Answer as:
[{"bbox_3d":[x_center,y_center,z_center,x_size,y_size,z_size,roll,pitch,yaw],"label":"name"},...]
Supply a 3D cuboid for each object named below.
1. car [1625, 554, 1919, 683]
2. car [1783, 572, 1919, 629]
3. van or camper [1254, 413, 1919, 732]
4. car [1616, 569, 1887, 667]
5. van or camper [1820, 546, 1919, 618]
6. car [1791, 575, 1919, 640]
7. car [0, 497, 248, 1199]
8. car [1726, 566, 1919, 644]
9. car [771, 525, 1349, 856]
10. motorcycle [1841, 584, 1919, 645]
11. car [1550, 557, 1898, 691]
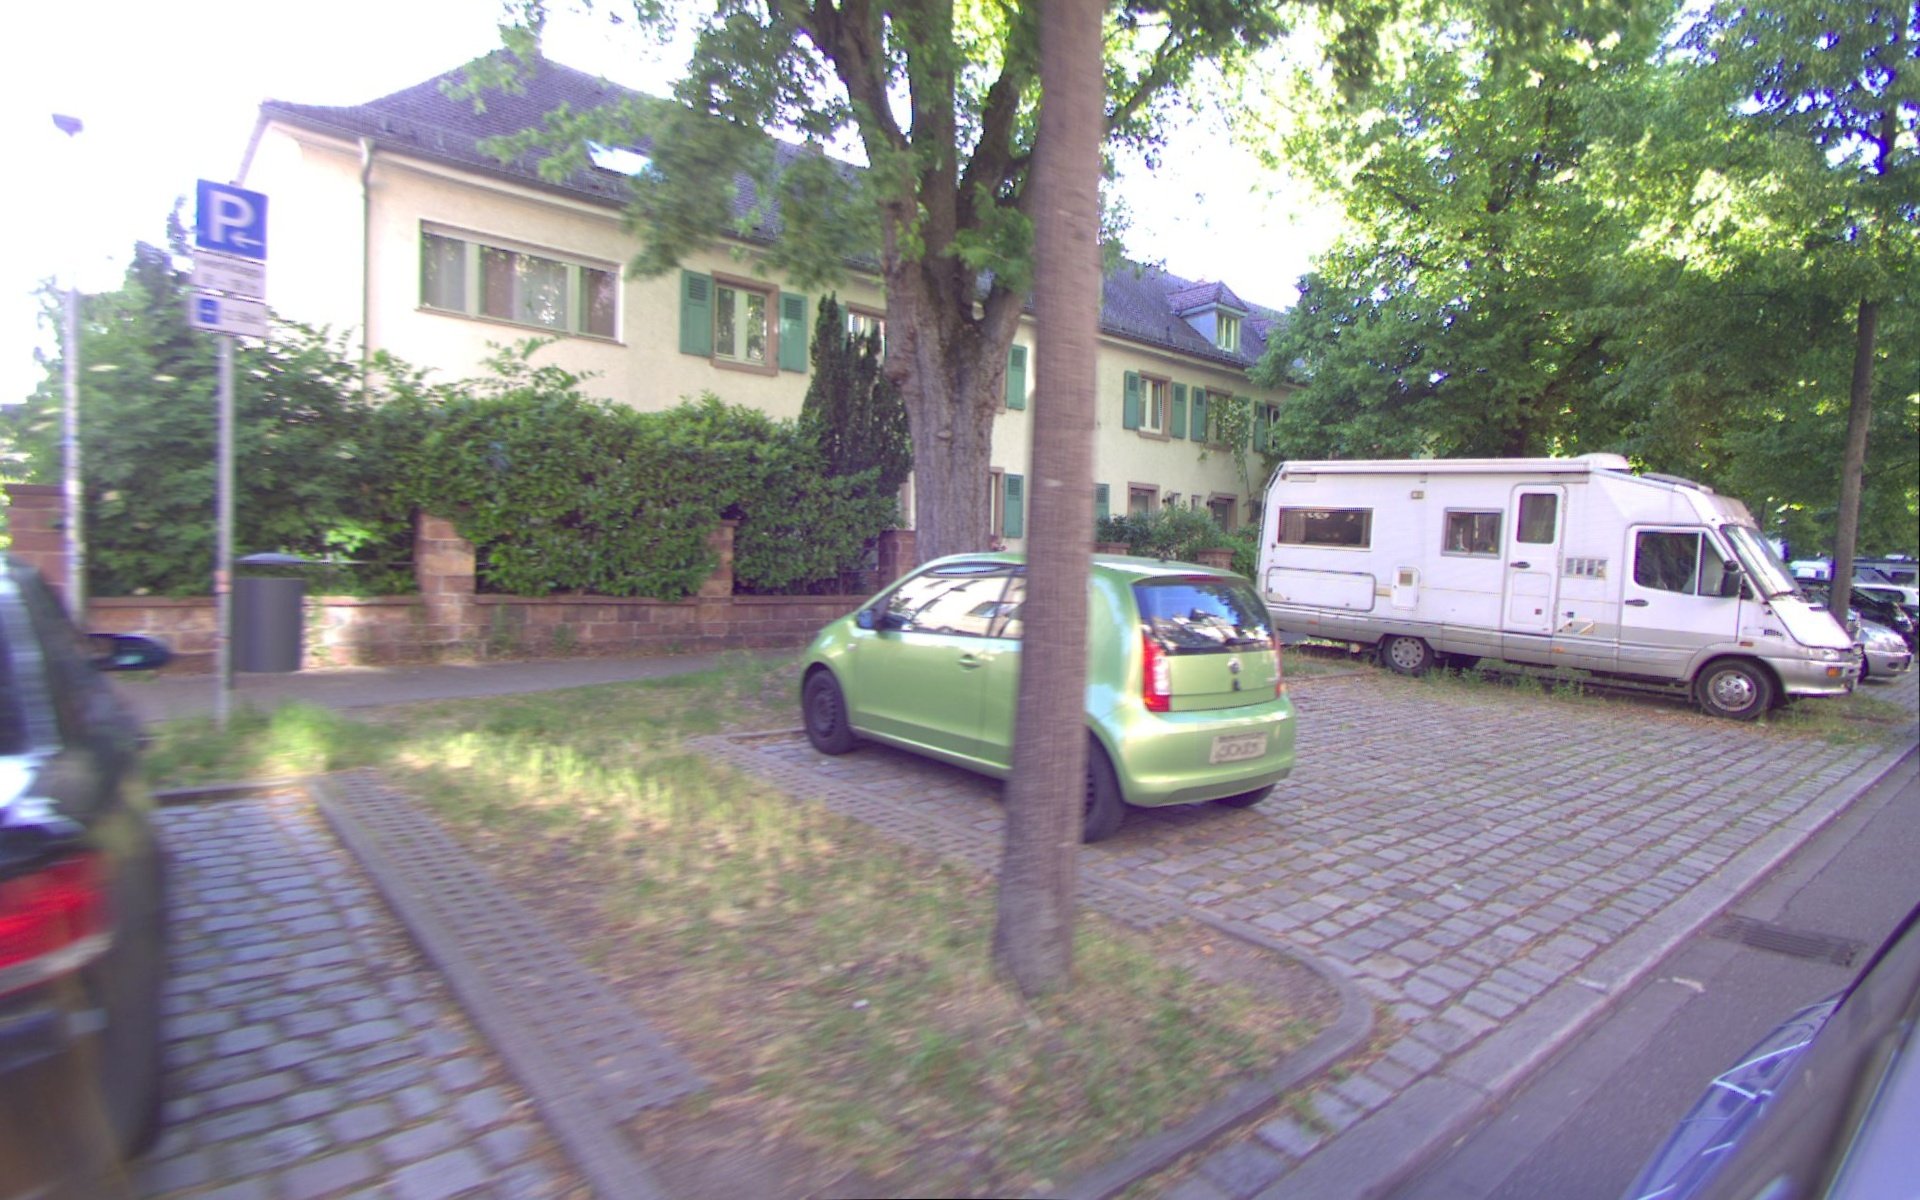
[{"bbox_3d":[13.833,0.199,17.131,1.699,1.765,3.924,-1,5,-40],"label":"car"},{"bbox_3d":[27.898,0.022,30.517,1.722,1.495,4.470,0,4,-39],"label":"car"},{"bbox_3d":[7.699,-0.409,13.321,2.423,3.115,7.086,0,2,-43],"label":"van or camper"},{"bbox_3d":[15.128,0.252,19.473,3.878,1.490,1.759,6,5,44],"label":"car"},{"bbox_3d":[40.926,-0.761,42.309,2.386,2.939,7.263,-2,3,-40],"label":"van or camper"},{"bbox_3d":[23.719,0.186,25.929,1.664,1.493,3.456,0,4,-41],"label":"car"},{"bbox_3d":[-3.174,0.432,2.679,1.761,1.428,4.115,0,5,-40],"label":"car"},{"bbox_3d":[21.634,0.074,24.698,1.895,1.627,4.341,-1,4,-42],"label":"car"},{"bbox_3d":[0.405,0.323,6.608,1.648,1.523,3.598,1,3,-40],"label":"car"},{"bbox_3d":[19.979,0.297,21.677,0.725,1.212,1.774,1,2,5],"label":"motorcycle"},{"bbox_3d":[11.892,0.248,15.992,1.868,1.617,3.976,-1,6,-38],"label":"car"}]
